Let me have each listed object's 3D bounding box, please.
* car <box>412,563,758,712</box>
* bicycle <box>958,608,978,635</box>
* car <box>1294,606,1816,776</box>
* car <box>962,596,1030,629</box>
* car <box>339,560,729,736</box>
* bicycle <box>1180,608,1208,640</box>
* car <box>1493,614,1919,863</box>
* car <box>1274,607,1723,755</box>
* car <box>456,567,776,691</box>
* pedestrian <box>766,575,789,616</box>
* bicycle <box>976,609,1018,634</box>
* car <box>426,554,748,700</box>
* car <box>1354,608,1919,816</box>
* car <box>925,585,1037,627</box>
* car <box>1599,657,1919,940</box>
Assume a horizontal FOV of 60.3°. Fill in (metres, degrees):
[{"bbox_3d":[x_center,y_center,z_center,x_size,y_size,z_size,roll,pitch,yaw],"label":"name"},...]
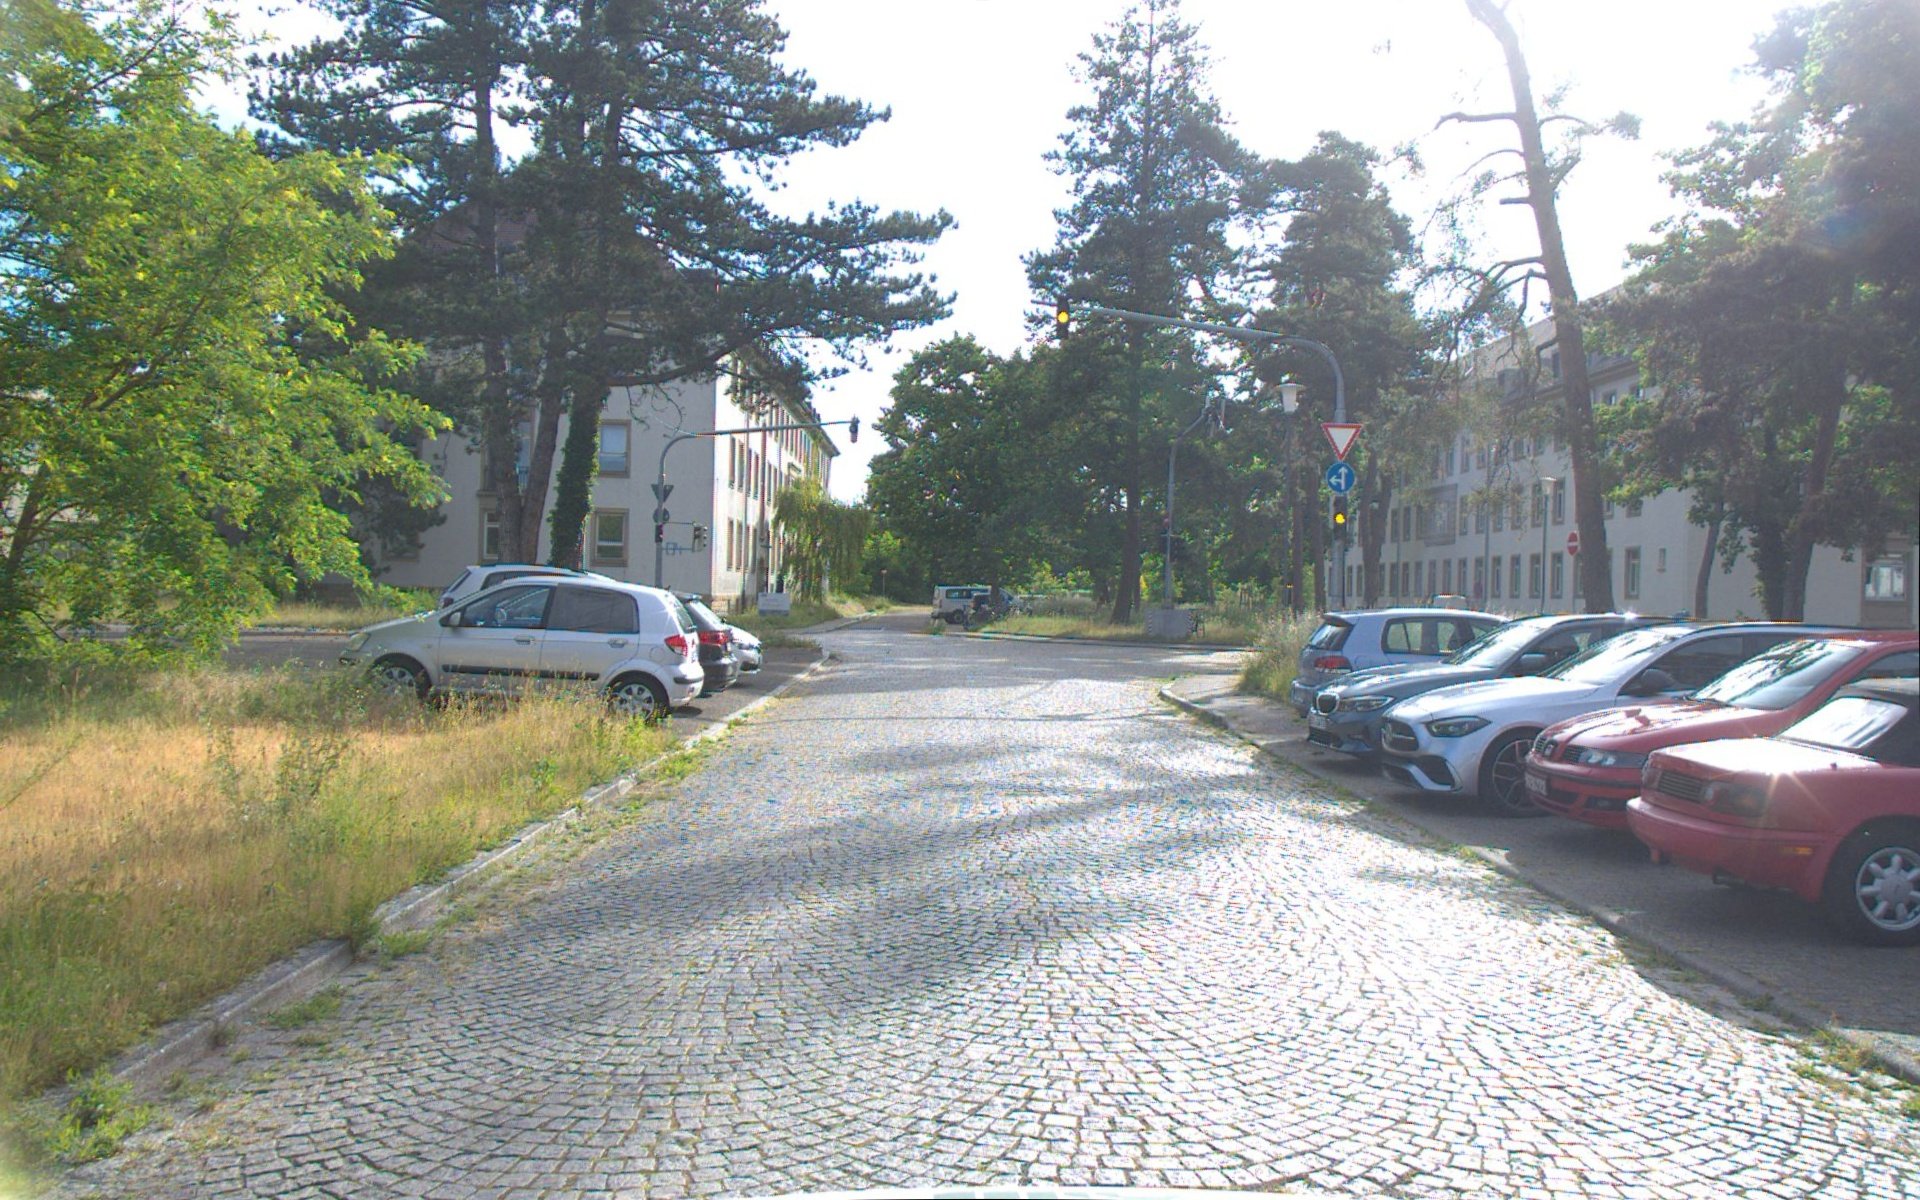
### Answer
[{"bbox_3d":[-4.506,0.452,20.337,3.752,1.454,1.858,5,-1,-2],"label":"car"},{"bbox_3d":[0.317,0.850,66.152,0.713,1.016,1.798,1,1,-1],"label":"bicycle"},{"bbox_3d":[5.688,0.852,16.136,4.419,1.499,1.893,1,-1,-5],"label":"car"},{"bbox_3d":[1.781,0.622,82.142,2.980,1.491,1.714,2,-1,-14],"label":"car"},{"bbox_3d":[-4.434,0.493,17.682,3.610,1.499,1.848,5,-1,-3],"label":"car"},{"bbox_3d":[7.869,0.797,55.713,0.551,1.016,1.750,1,1,-5],"label":"bicycle"},{"bbox_3d":[5.985,0.882,11.092,4.253,1.499,1.739,1,-1,-1],"label":"car"},{"bbox_3d":[5.994,0.885,18.766,4.453,1.532,1.932,1,-1,-3],"label":"car"},{"bbox_3d":[-5.210,0.418,25.560,4.497,1.480,1.902,5,1,-3],"label":"car"},{"bbox_3d":[-9.026,-0.236,81.923,0.965,1.998,0.932,2,-1,-2],"label":"pedestrian"},{"bbox_3d":[1.589,0.899,70.787,1.757,1.016,0.644,1,1,-2],"label":"bicycle"},{"bbox_3d":[-5.083,0.373,23.020,4.042,1.627,1.857,5,-1,-6],"label":"car"},{"bbox_3d":[5.621,0.860,13.356,4.415,1.499,1.849,1,-1,-1],"label":"car"},{"bbox_3d":[1.079,0.321,85.698,5.409,1.949,2.245,2,-1,-15],"label":"car"},{"bbox_3d":[5.633,0.994,8.707,3.870,1.283,1.726,1,-1,-1],"label":"car"}]
